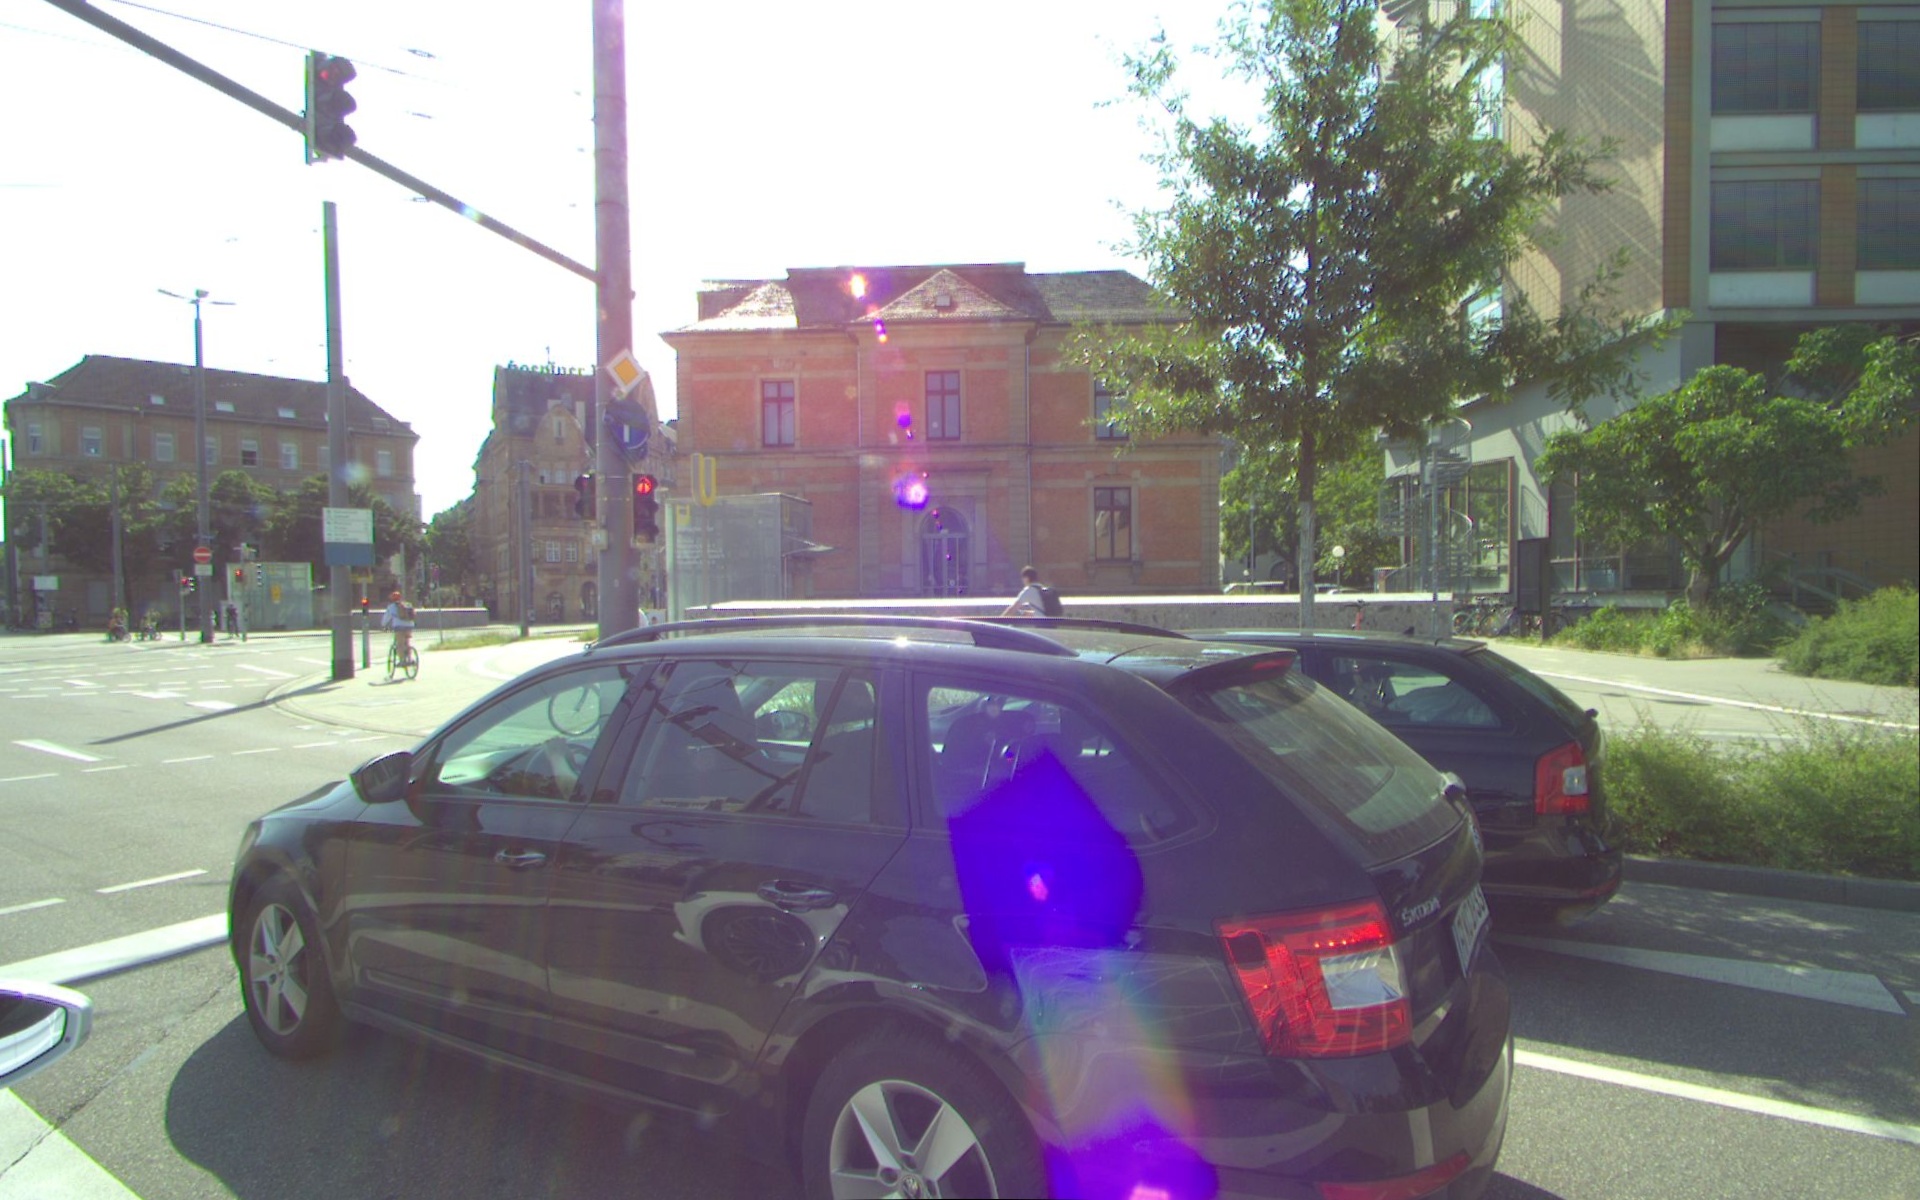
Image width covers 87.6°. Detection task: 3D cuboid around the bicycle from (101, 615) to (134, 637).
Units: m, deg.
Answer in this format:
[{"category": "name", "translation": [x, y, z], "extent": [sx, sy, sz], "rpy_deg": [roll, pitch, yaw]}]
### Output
[{"category": "bicycle", "translation": [-41.954, 1.317, 49.842], "extent": [2.717, 1.083, 0.922], "rpy_deg": [-2, -2, 42]}]

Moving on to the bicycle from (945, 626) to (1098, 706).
[{"category": "bicycle", "translation": [0.832, 0.878, 13.784], "extent": [1.991, 1.028, 0.713], "rpy_deg": [-1, -1, 31]}]

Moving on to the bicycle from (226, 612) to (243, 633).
[{"category": "bicycle", "translation": [-38.961, 1.214, 53.774], "extent": [0.660, 1.083, 2.447], "rpy_deg": [1, -1, -35]}]

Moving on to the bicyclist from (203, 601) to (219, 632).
[{"category": "bicyclist", "translation": [-40.097, 0.905, 53.603], "extent": [0.641, 1.642, 0.498], "rpy_deg": [0, -1, 38]}]

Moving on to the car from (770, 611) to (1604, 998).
[{"category": "car", "translation": [1.092, 0.806, 5.729], "extent": [4.336, 1.448, 1.696], "rpy_deg": [0, 0, 33]}]

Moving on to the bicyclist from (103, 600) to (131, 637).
[{"category": "bicyclist", "translation": [-41.974, 0.928, 49.873], "extent": [1.041, 1.843, 0.922], "rpy_deg": [-1, -2, 42]}]

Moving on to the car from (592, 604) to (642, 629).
[{"category": "car", "translation": [-19.248, 0.912, 56.358], "extent": [1.639, 1.331, 3.452], "rpy_deg": [-1, 0, -1]}]

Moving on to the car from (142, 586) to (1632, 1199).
[{"category": "car", "translation": [-0.686, 0.769, 3.292], "extent": [4.710, 1.454, 1.628], "rpy_deg": [-1, -1, 31]}]

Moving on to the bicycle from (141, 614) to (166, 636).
[{"category": "bicycle", "translation": [-41.025, 1.280, 50.962], "extent": [0.919, 1.083, 2.819], "rpy_deg": [1, -1, -38]}]

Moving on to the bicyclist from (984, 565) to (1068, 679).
[{"category": "bicyclist", "translation": [0.904, 0.312, 13.743], "extent": [0.936, 1.507, 0.713], "rpy_deg": [-1, -2, 31]}]

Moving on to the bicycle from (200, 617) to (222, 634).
[{"category": "bicycle", "translation": [-40.105, 1.370, 53.612], "extent": [1.567, 0.877, 0.498], "rpy_deg": [0, -1, 38]}]

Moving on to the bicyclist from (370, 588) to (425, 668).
[{"category": "bicyclist", "translation": [-12.301, 0.606, 21.907], "extent": [0.864, 1.692, 0.710], "rpy_deg": [0, 3, 40]}]

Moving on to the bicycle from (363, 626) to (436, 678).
[{"category": "bicycle", "translation": [-12.285, 1.119, 21.942], "extent": [1.997, 1.029, 0.710], "rpy_deg": [-1, 3, 41]}]

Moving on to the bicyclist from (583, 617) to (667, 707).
[{"category": "bicyclist", "translation": [-4.270, 0.762, 12.739], "extent": [0.901, 1.043, 0.714], "rpy_deg": [-3, 2, -24]}]

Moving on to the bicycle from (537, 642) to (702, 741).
[{"category": "bicycle", "translation": [-4.315, 1.128, 12.722], "extent": [1.887, 1.029, 0.714], "rpy_deg": [-3, 2, -24]}]

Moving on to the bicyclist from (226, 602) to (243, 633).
[{"category": "bicyclist", "translation": [-39.032, 0.927, 53.878], "extent": [0.660, 1.645, 0.777], "rpy_deg": [1, 0, -35]}]

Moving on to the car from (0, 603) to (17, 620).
[{"category": "car", "translation": [-117.264, 1.459, 122.884], "extent": [2.094, 2.040, 3.961], "rpy_deg": [-1, 0, -43]}]

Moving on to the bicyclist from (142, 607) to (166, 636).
[{"category": "bicyclist", "translation": [-41.038, 1.083, 50.978], "extent": [0.919, 1.470, 1.242], "rpy_deg": [1, -1, -38]}]
